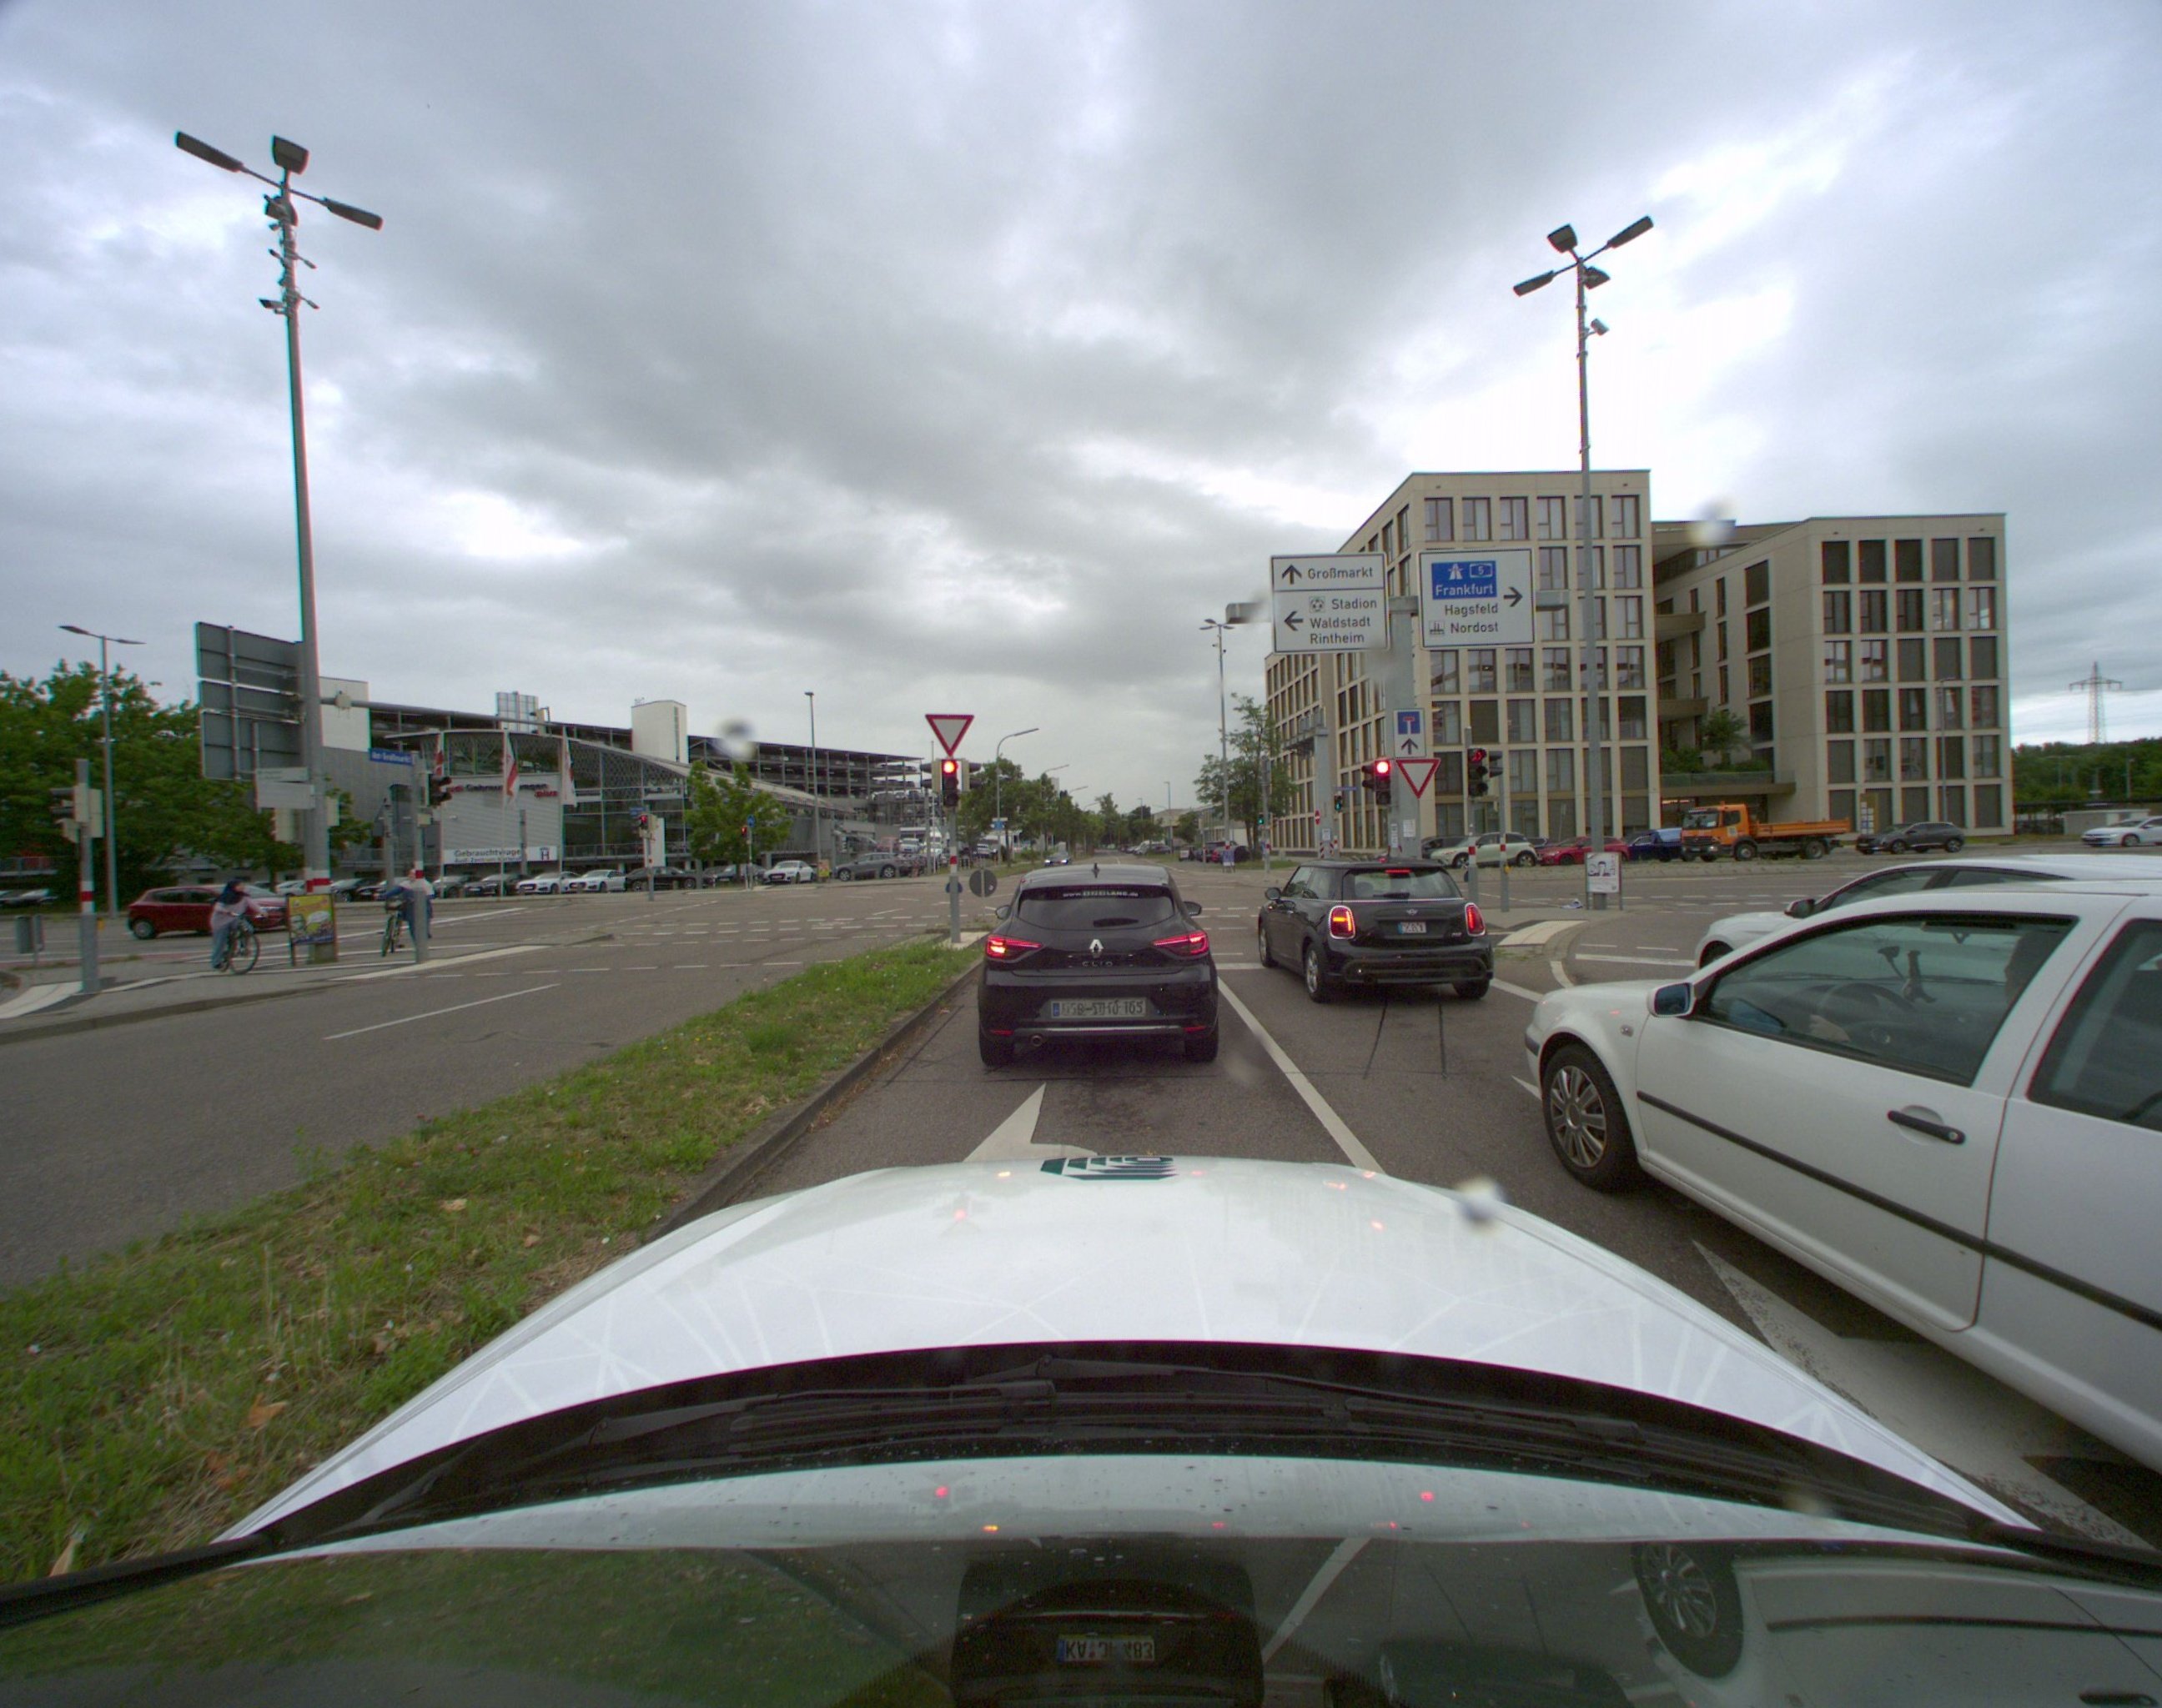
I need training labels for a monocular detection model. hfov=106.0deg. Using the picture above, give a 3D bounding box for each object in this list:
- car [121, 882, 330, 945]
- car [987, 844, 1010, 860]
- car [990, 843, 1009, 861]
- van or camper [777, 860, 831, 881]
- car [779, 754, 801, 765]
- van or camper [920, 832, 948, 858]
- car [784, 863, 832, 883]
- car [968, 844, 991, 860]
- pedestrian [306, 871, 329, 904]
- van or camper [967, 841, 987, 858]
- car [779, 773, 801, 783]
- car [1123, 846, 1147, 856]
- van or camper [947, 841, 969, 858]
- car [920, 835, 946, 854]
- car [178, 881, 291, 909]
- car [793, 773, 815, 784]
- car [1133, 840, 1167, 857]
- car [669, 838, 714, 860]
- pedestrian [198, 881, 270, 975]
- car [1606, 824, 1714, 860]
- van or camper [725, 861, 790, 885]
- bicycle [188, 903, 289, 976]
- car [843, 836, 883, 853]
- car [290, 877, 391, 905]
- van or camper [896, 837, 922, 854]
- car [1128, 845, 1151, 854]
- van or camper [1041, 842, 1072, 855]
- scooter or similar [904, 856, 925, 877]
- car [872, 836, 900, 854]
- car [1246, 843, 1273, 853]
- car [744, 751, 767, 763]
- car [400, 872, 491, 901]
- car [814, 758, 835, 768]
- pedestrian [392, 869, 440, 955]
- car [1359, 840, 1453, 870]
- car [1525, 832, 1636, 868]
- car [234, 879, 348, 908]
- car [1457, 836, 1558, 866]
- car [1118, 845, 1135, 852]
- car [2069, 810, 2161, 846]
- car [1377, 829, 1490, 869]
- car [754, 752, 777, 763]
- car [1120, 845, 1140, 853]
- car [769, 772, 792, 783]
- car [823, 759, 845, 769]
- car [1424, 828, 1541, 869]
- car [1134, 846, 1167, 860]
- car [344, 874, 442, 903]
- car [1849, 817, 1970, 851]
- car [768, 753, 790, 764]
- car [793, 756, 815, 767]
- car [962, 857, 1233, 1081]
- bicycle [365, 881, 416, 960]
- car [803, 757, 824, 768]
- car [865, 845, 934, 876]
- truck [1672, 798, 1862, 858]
[{"bbox_3d":[-25.118,1.709,24.044,4.058,1.487,1.738,-3,0,-5],"label":"car"},{"bbox_3d":[-8.576,-0.203,84.877,1.987,1.618,3.999,0,-1,0],"label":"car"},{"bbox_3d":[-9.555,-0.225,95.491,1.988,2.014,3.997,0,-1,-2],"label":"car"},{"bbox_3d":[-23.750,1.404,69.986,3.977,1.711,1.846,0,-1,-2],"label":"van or camper"},{"bbox_3d":[-55.632,-17.980,155.544,3.948,1.667,2.013,-1,0,33],"label":"car"},{"bbox_3d":[-17.192,-1.025,95.290,2.529,3.026,4.840,0,-1,-2],"label":"van or camper"},{"bbox_3d":[-26.132,1.804,78.022,3.979,1.838,1.757,0,-1,-4],"label":"car"},{"bbox_3d":[-10.403,-0.201,83.750,1.988,1.618,3.997,0,-1,-2],"label":"car"},{"bbox_3d":[-45.370,1.986,48.416,0.714,1.871,0.673,-2,-2,0],"label":"pedestrian"},{"bbox_3d":[-12.146,-0.516,95.348,1.988,2.014,3.997,0,-1,-2],"label":"van or camper"},{"bbox_3d":[-55.746,-14.549,155.840,3.948,1.667,2.013,-1,0,33],"label":"car"},{"bbox_3d":[12.075,-0.634,182.139,5.156,2.014,2.144,0,-1,0],"label":"car"},{"bbox_3d":[-14.345,-0.501,95.209,1.988,2.014,3.997,0,-1,-2],"label":"van or camper"},{"bbox_3d":[-15.213,-0.939,84.001,1.988,1.823,3.997,0,-1,-2],"label":"car"},{"bbox_3d":[-46.633,2.246,45.005,1.845,1.421,4.214,-2,-2,-2],"label":"car"},{"bbox_3d":[-53.833,-14.663,158.026,3.948,1.667,2.013,-1,0,33],"label":"car"},{"bbox_3d":[12.755,-1.060,151.515,6.096,3.116,2.134,0,-1,0],"label":"car"},{"bbox_3d":[-30.528,-0.401,63.948,1.815,1.662,3.996,0,-1,-3],"label":"car"},{"bbox_3d":[-14.544,1.262,13.993,0.642,1.549,0.657,-3,-2,22],"label":"pedestrian"},{"bbox_3d":[29.509,-0.572,41.582,4.126,1.769,1.998,0,-1,-3],"label":"car"},{"bbox_3d":[-23.439,1.379,59.121,3.977,1.677,1.998,0,-1,-3],"label":"van or camper"},{"bbox_3d":[-14.318,1.453,13.836,1.924,1.166,0.511,-3,-2,22],"label":"bicycle"},{"bbox_3d":[-24.367,-1.090,90.978,3.975,1.838,1.759,0,-1,-1],"label":"car"},{"bbox_3d":[-41.150,2.068,45.408,1.891,1.391,4.164,-2,-2,-2],"label":"car"},{"bbox_3d":[-17.674,-0.816,83.932,1.988,1.651,3.997,0,-1,-2],"label":"van or camper"},{"bbox_3d":[12.518,-0.989,175.529,4.771,1.891,2.143,0,-1,-1],"label":"car"},{"bbox_3d":[-4.595,-1.062,152.299,5.580,2.372,2.000,0,-1,0],"label":"van or camper"},{"bbox_3d":[-9.962,0.750,48.688,0.553,1.218,1.567,1,1,16],"label":"scooter or similar"},{"bbox_3d":[-20.111,-0.912,84.231,1.988,1.849,3.997,0,-1,-2],"label":"car"},{"bbox_3d":[24.232,-0.842,110.632,3.238,1.332,1.477,0,-1,-17],"label":"car"},{"bbox_3d":[-59.713,-17.747,149.324,3.948,1.667,2.013,-1,0,33],"label":"car"},{"bbox_3d":[-35.553,1.836,45.721,1.897,1.486,4.186,-2,-2,-2],"label":"car"},{"bbox_3d":[-51.153,-18.165,162.397,3.948,1.667,2.013,-1,0,33],"label":"car"},{"bbox_3d":[-13.264,1.141,16.262,0.644,1.626,0.684,-4,-1,-39],"label":"pedestrian"},{"bbox_3d":[16.326,0.053,41.015,4.074,1.432,1.750,0,-1,-3],"label":"car"},{"bbox_3d":[23.233,-0.159,37.967,3.976,1.601,1.999,0,-1,-2],"label":"car"},{"bbox_3d":[-43.827,2.168,45.349,1.837,1.472,4.660,-1,-2,-2],"label":"car"},{"bbox_3d":[21.476,-0.141,41.124,4.126,1.490,1.870,0,-1,-3],"label":"car"},{"bbox_3d":[12.905,-1.627,229.874,4.771,1.891,2.143,0,-1,-1],"label":"car"},{"bbox_3d":[52.622,-1.275,40.363,4.316,1.657,2.007,-1,-1,13],"label":"car"},{"bbox_3d":[16.262,-0.214,37.731,4.396,1.769,1.998,0,-1,-3],"label":"car"},{"bbox_3d":[-58.668,-17.889,151.350,3.948,1.667,2.013,-1,0,33],"label":"car"},{"bbox_3d":[13.172,-1.411,218.772,5.156,2.014,2.144,0,-1,0],"label":"car"},{"bbox_3d":[-56.714,-14.424,153.780,3.948,1.667,2.013,-1,0,33],"label":"car"},{"bbox_3d":[-49.802,-18.152,164.190,3.948,1.667,2.013,-1,0,33],"label":"car"},{"bbox_3d":[16.911,-0.226,34.453,4.047,1.643,1.903,0,-1,-4],"label":"car"},{"bbox_3d":[10.968,-0.147,128.925,5.158,2.014,2.143,0,-1,-1],"label":"car"},{"bbox_3d":[-38.411,1.950,45.624,1.883,1.471,4.375,-2,-2,-2],"label":"car"},{"bbox_3d":[42.559,-1.023,41.918,4.089,1.657,2.002,0,-1,3],"label":"car"},{"bbox_3d":[-56.979,-17.984,153.706,3.948,1.667,2.013,-1,0,33],"label":"car"},{"bbox_3d":[-53.853,-17.994,158.144,3.948,1.667,2.013,-1,0,33],"label":"car"},{"bbox_3d":[0.167,0.761,7.277,1.750,1.434,4.001,0,-1,2],"label":"car"},{"bbox_3d":[-13.524,1.285,15.933,0.600,1.396,1.910,-5,0,-43],"label":"bicycle"},{"bbox_3d":[-52.624,-17.987,160.128,3.948,1.667,2.013,-1,0,33],"label":"car"},{"bbox_3d":[-13.769,0.482,62.158,4.765,2.013,1.997,-4,0,-5],"label":"car"},{"bbox_3d":[32.047,-1.170,38.228,6.633,2.638,2.820,0,-1,-1],"label":"truck"}]
